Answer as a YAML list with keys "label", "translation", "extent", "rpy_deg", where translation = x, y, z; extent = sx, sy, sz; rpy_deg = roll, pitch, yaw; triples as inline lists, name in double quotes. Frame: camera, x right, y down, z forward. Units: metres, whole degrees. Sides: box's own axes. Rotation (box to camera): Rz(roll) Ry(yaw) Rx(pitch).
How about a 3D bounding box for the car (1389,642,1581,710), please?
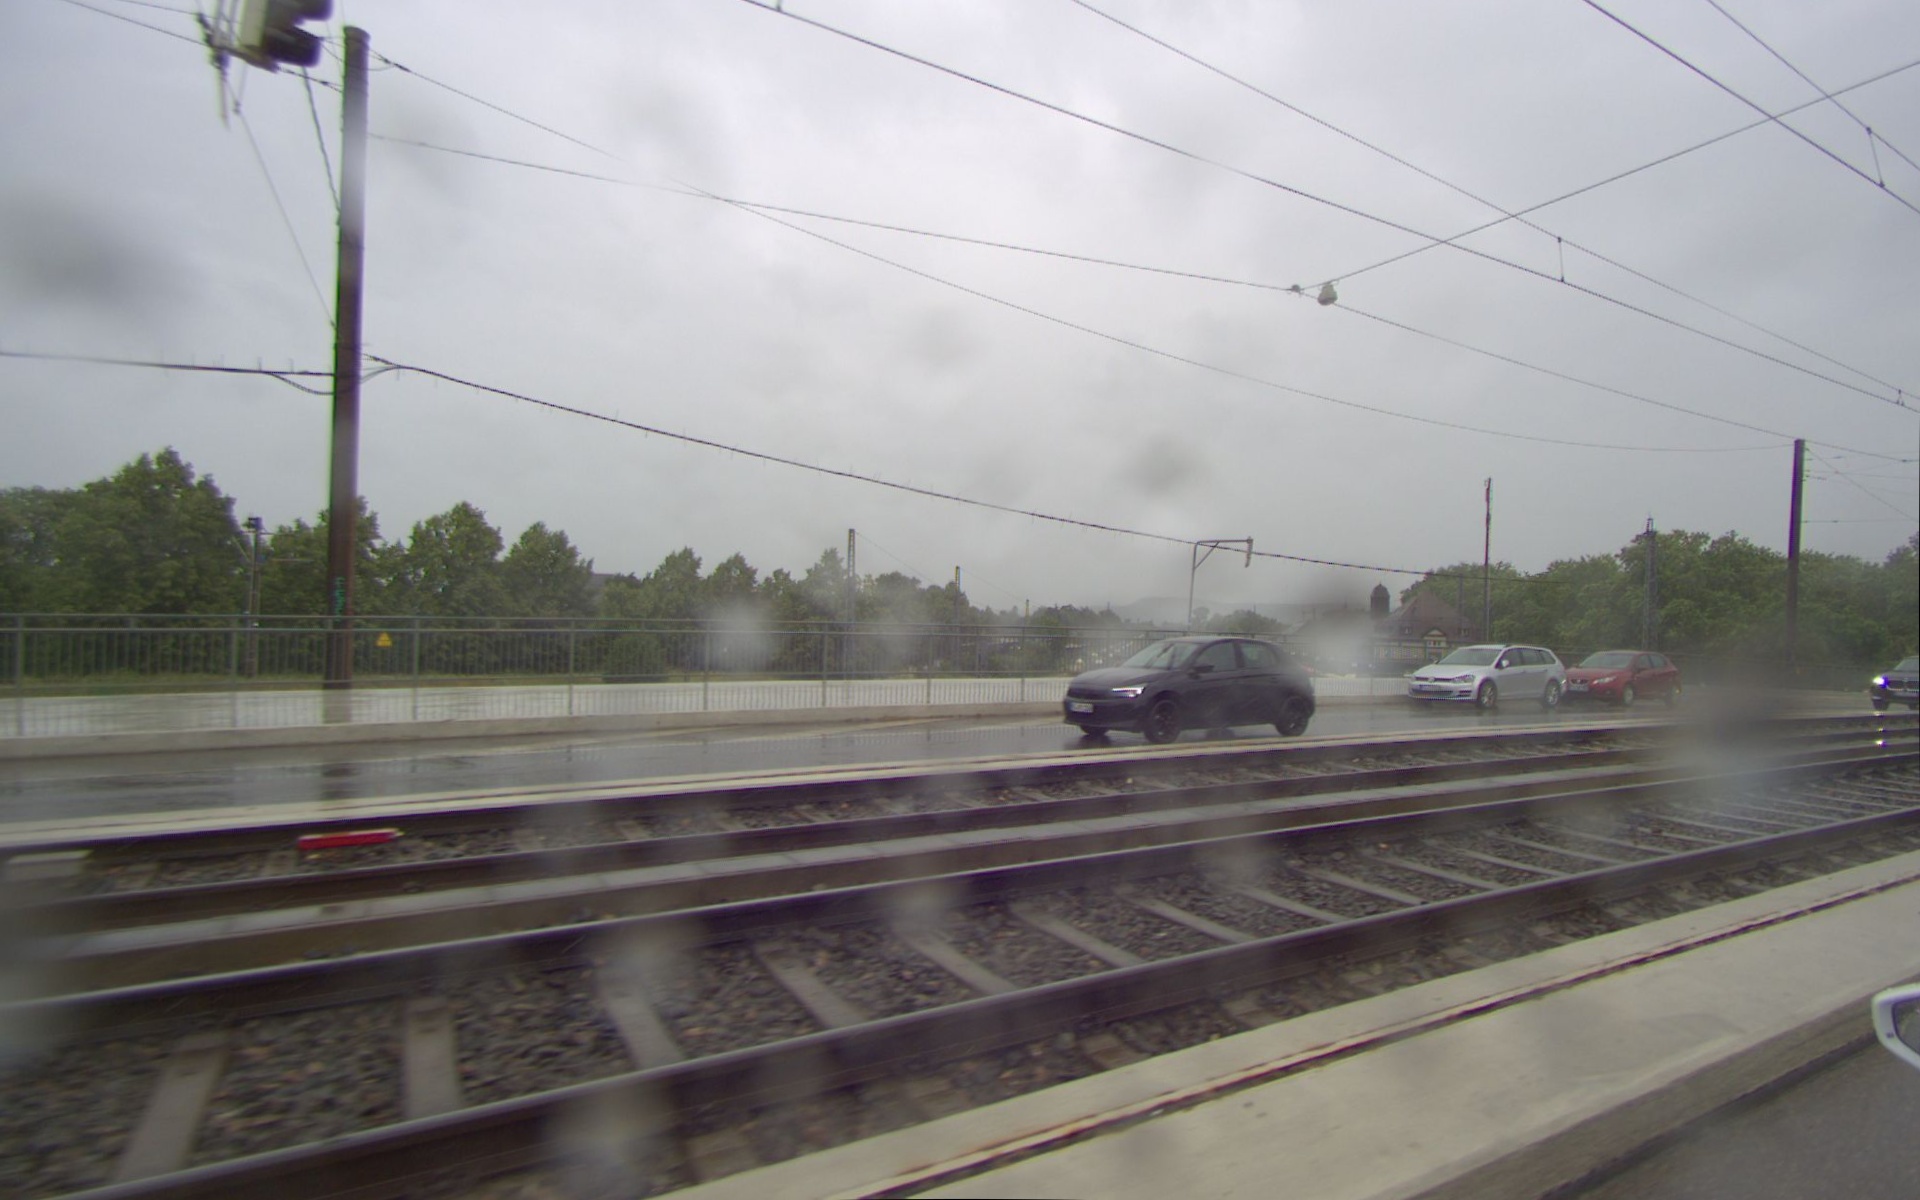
- label: "car"
  translation: [12.509, 1.781, 23.885]
  extent: [4.568, 1.474, 1.984]
  rpy_deg: [3, -4, -31]

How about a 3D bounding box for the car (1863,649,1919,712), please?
- label: "car"
  translation: [28.090, 2.345, 29.019]
  extent: [3.953, 1.676, 1.809]
  rpy_deg: [3, 0, -30]

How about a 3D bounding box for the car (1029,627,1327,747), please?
- label: "car"
  translation: [3.239, 1.237, 14.759]
  extent: [4.046, 1.529, 1.984]
  rpy_deg: [3, -4, -31]

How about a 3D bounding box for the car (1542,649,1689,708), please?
- label: "car"
  translation: [17.555, 2.076, 26.852]
  extent: [4.274, 1.474, 1.612]
  rpy_deg: [3, -4, -31]
